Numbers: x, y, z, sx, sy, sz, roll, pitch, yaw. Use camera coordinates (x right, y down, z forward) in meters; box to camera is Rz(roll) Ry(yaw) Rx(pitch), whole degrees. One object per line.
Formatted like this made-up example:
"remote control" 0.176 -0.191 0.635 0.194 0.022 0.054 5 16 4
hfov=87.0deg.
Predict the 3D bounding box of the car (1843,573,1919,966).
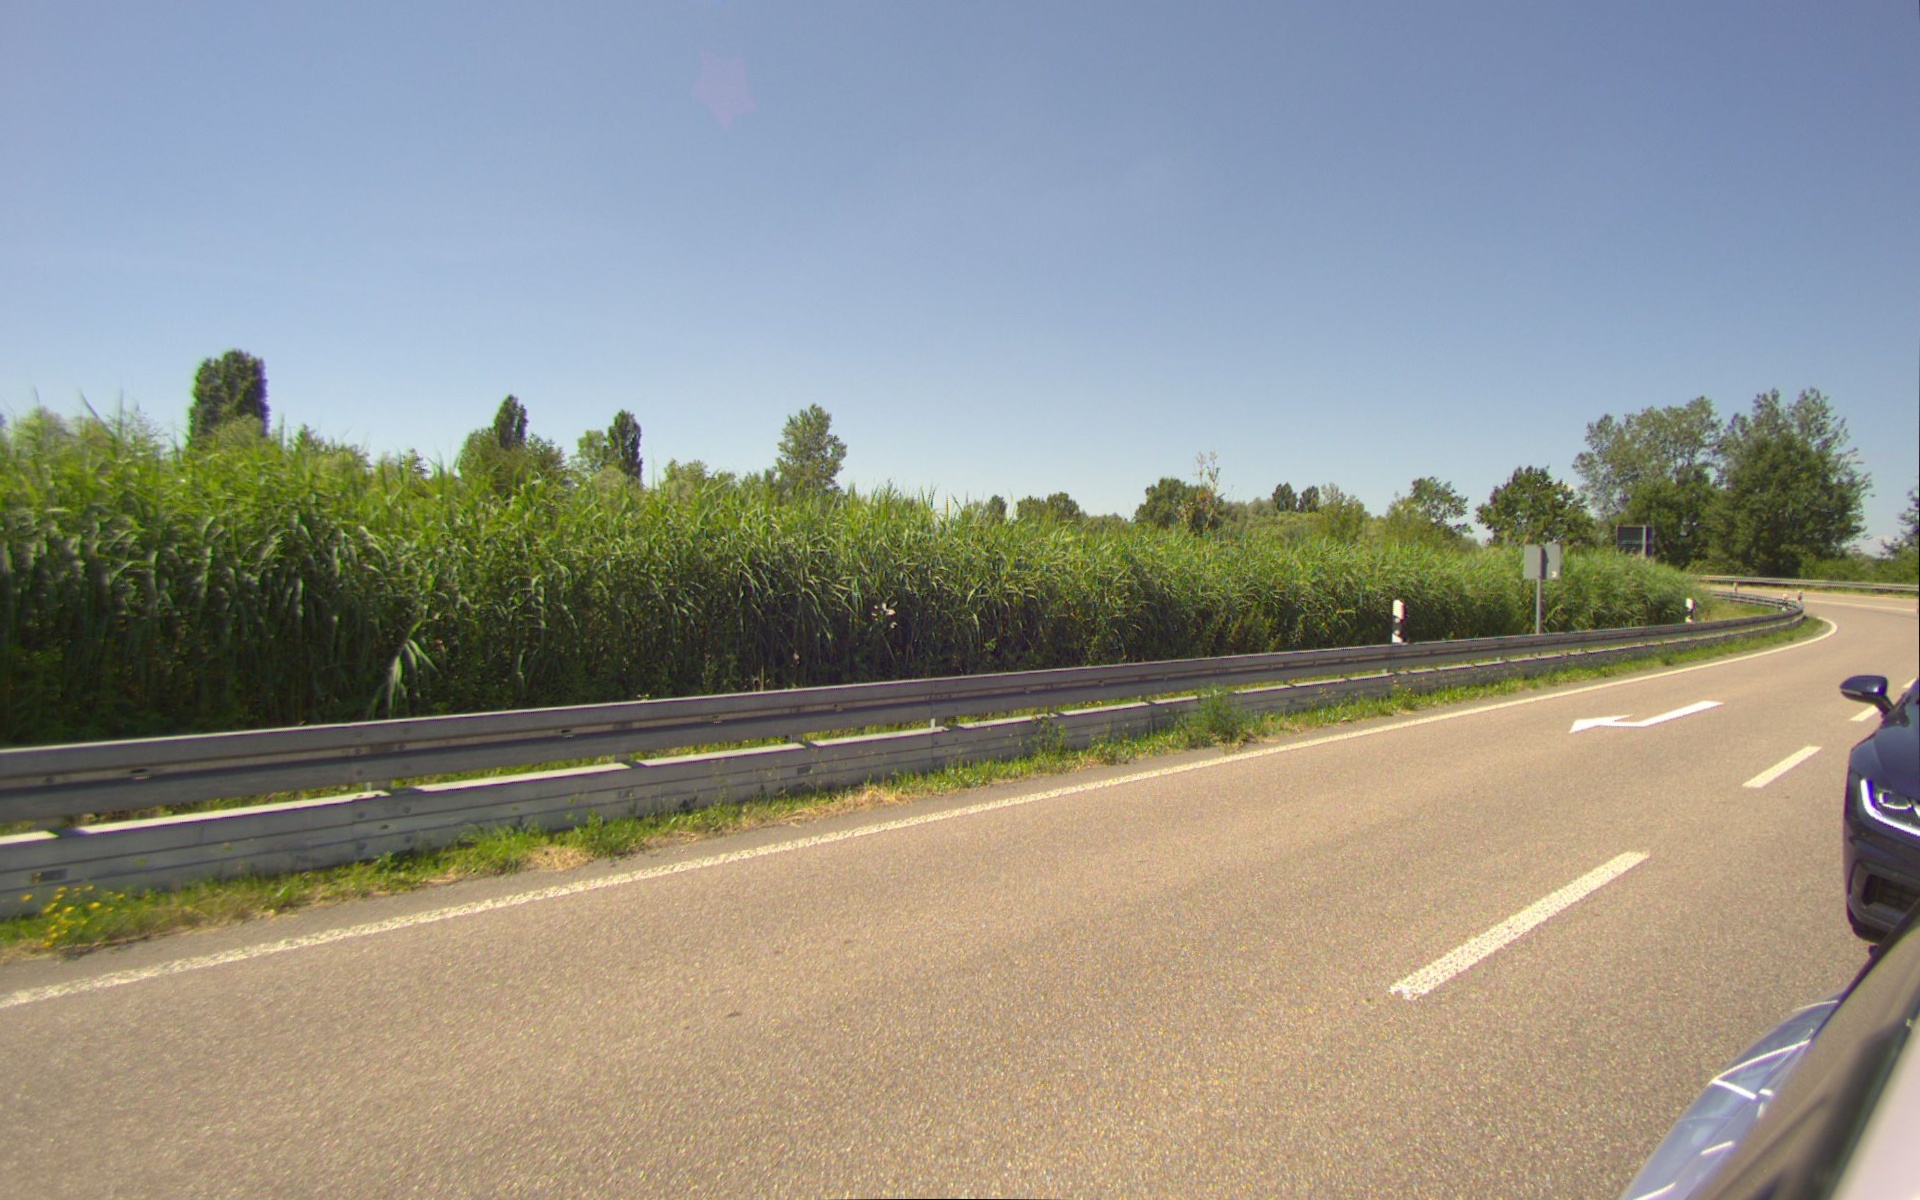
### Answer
"car" 5.696 0.626 4.710 4.338 1.481 1.818 -1 1 -41
